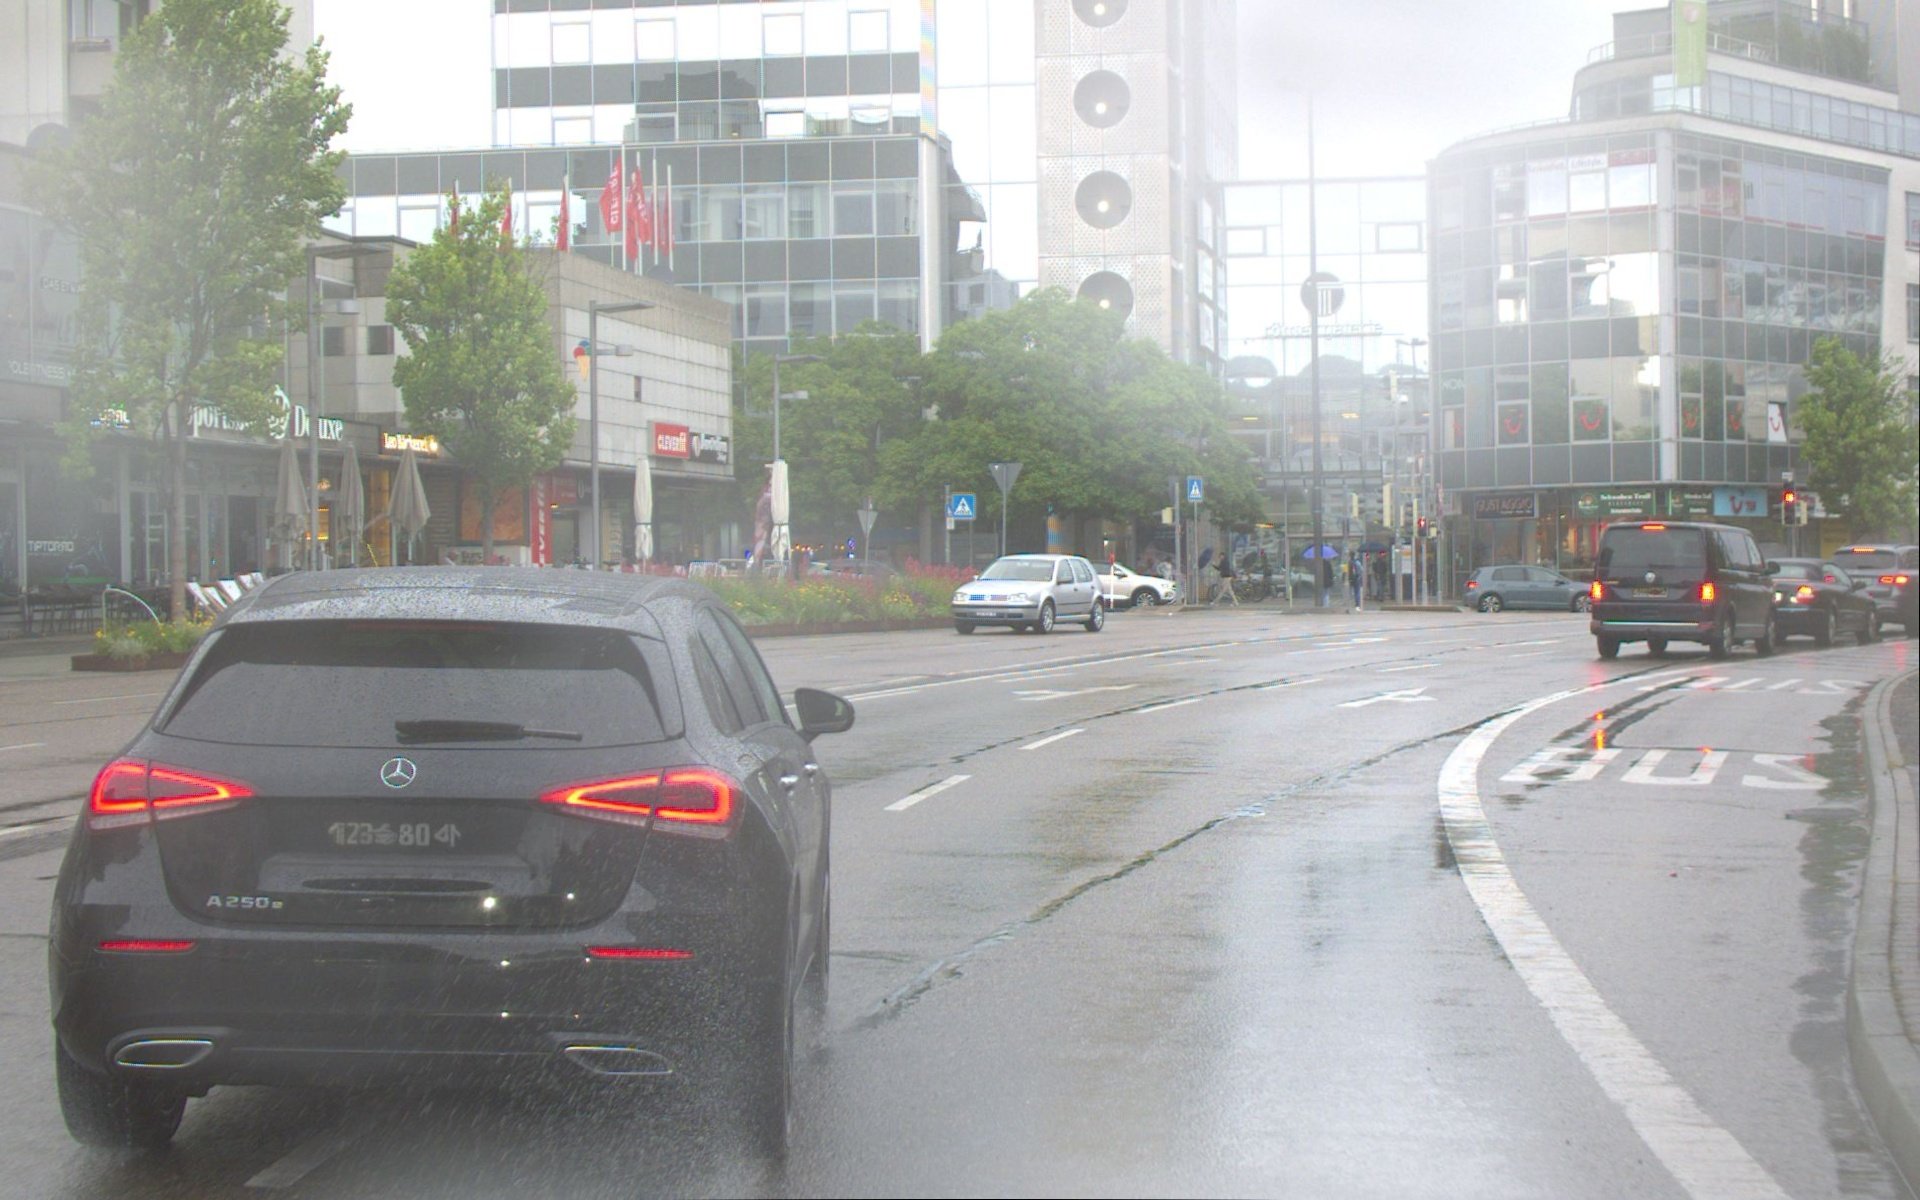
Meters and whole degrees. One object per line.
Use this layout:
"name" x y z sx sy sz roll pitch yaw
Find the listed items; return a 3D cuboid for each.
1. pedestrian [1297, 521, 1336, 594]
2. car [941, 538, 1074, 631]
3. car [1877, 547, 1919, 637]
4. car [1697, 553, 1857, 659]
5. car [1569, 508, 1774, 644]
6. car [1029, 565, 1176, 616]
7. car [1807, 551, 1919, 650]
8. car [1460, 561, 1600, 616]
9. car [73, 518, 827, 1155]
"pedestrian" 8.695 -1.032 83.763 0.806 1.748 0.812 1 1 16
"car" 0.894 -0.294 62.025 1.693 1.626 3.509 1 1 13
"car" 19.662 -0.171 69.100 1.831 1.764 3.851 1 1 23
"car" 13.535 0.068 56.798 1.889 1.666 3.995 1 1 23
"car" 10.422 -0.366 50.158 2.045 1.889 4.133 1 1 25
"car" 4.023 -0.281 96.698 3.988 1.379 1.728 1 1 7
"car" 16.741 -0.009 62.656 1.913 1.719 3.804 1 1 23
"car" 16.264 -0.333 98.302 3.881 1.513 1.785 1 1 8
"car" -1.263 0.519 10.029 1.662 1.476 4.095 0 1 -1
